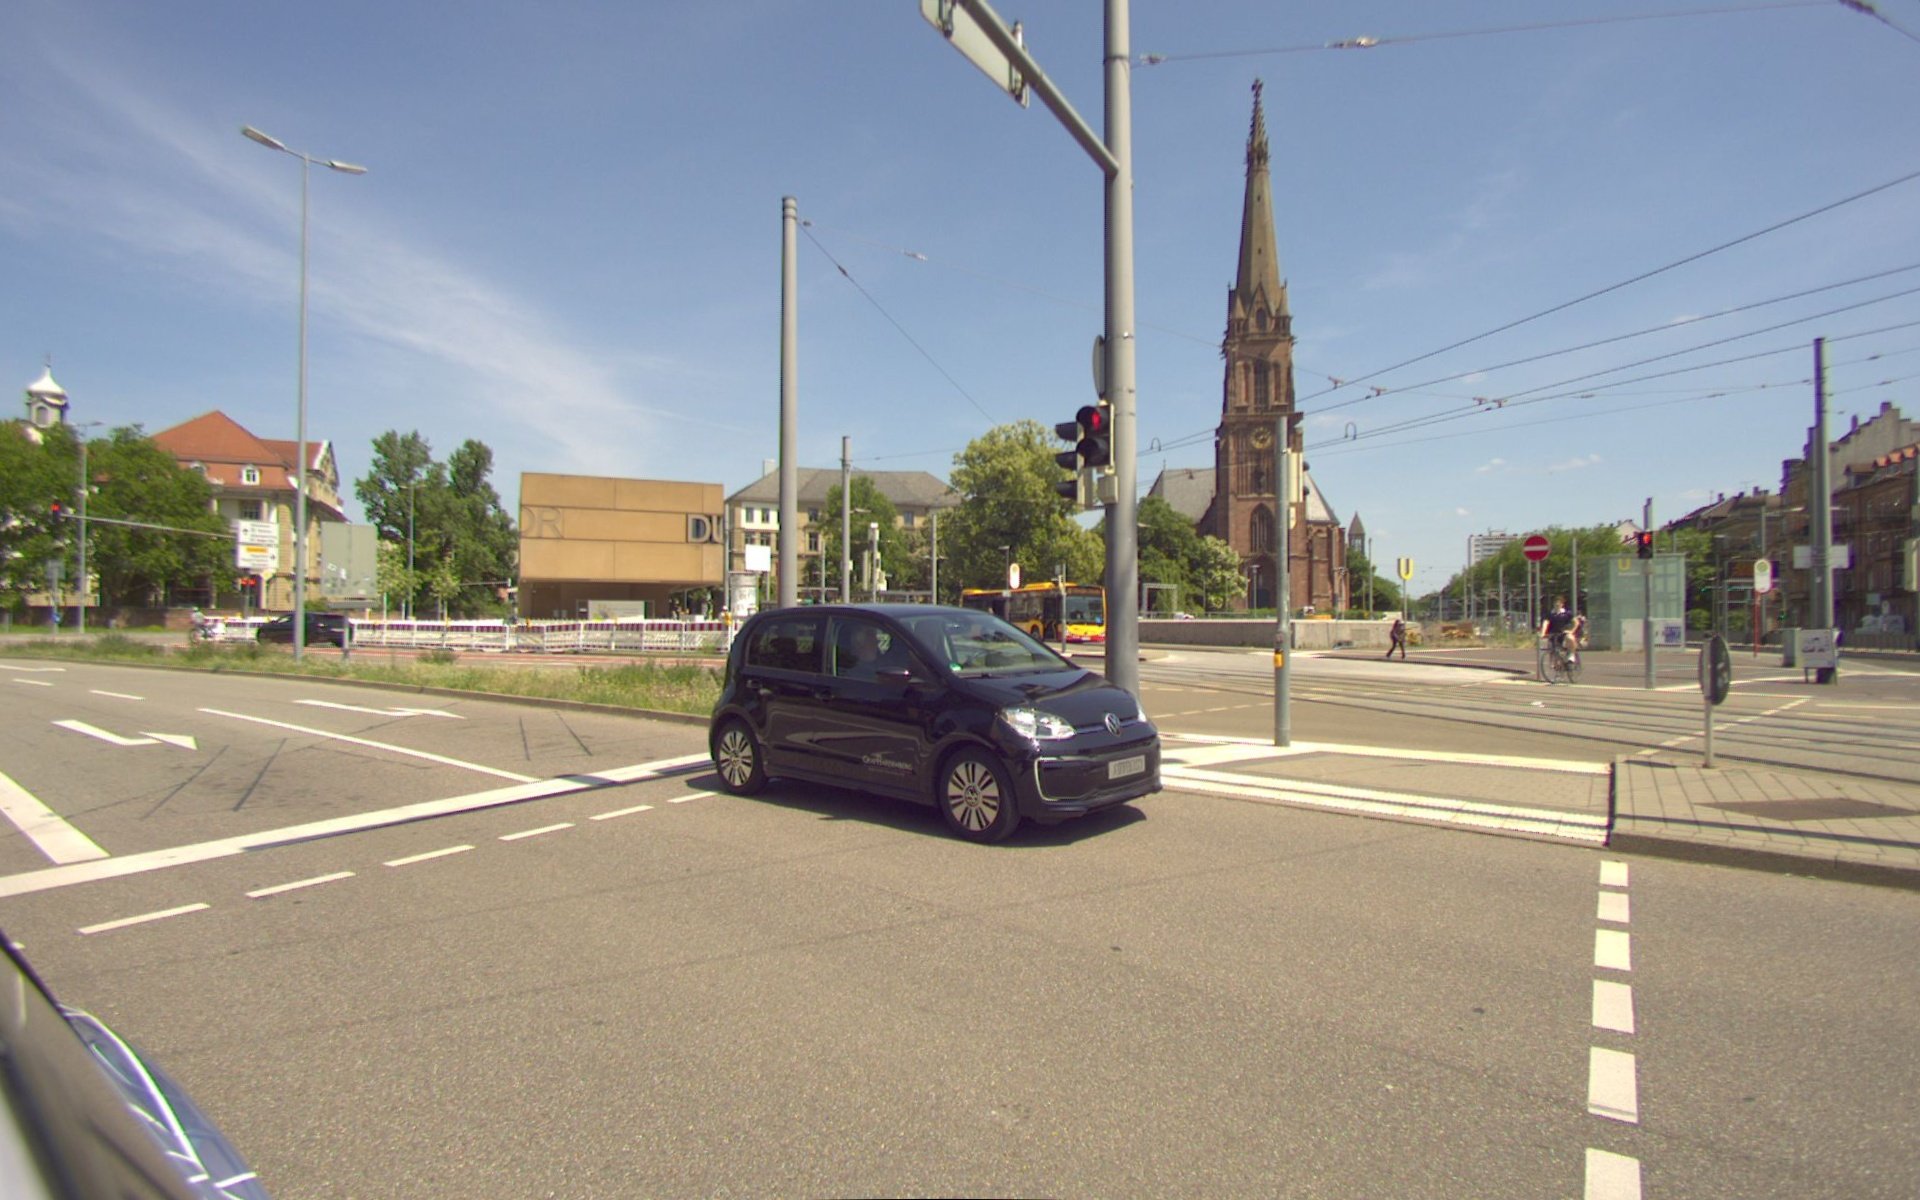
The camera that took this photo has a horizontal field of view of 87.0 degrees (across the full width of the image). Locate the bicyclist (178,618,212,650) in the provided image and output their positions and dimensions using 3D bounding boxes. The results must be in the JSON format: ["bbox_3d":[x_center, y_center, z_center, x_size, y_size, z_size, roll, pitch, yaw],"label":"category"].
[{"bbox_3d":[-33.902,1.502,44.835,1.431,1.366,0.582,0,1,24],"label":"bicyclist"}]

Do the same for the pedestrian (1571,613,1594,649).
[{"bbox_3d":[31.242,1.552,50.828,0.673,1.827,1.126,0,-1,16],"label":"pedestrian"}]

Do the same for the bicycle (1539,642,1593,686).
[{"bbox_3d":[12.936,1.336,21.568,0.628,0.861,1.873,-1,-2,42],"label":"bicycle"}]

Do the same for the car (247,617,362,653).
[{"bbox_3d":[-28.087,1.483,43.340,4.822,1.476,1.982,-1,-2,27],"label":"car"}]

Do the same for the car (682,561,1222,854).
[{"bbox_3d":[-0.209,0.628,7.377,3.735,1.588,1.726,-1,-2,41],"label":"car"}]

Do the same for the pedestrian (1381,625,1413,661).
[{"bbox_3d":[16.323,1.599,37.820,0.518,1.344,1.001,0,-2,-19],"label":"pedestrian"}]

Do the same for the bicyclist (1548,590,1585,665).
[{"bbox_3d":[12.940,0.563,21.592,0.438,1.541,1.236,0,1,42],"label":"bicyclist"}]

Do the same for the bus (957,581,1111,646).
[{"bbox_3d":[3.491,0.773,53.247,2.807,3.039,12.260,1,-1,-23],"label":"bus"}]

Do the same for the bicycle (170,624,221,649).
[{"bbox_3d":[-33.960,1.610,44.945,2.219,1.080,0.872,0,1,24],"label":"bicycle"}]
